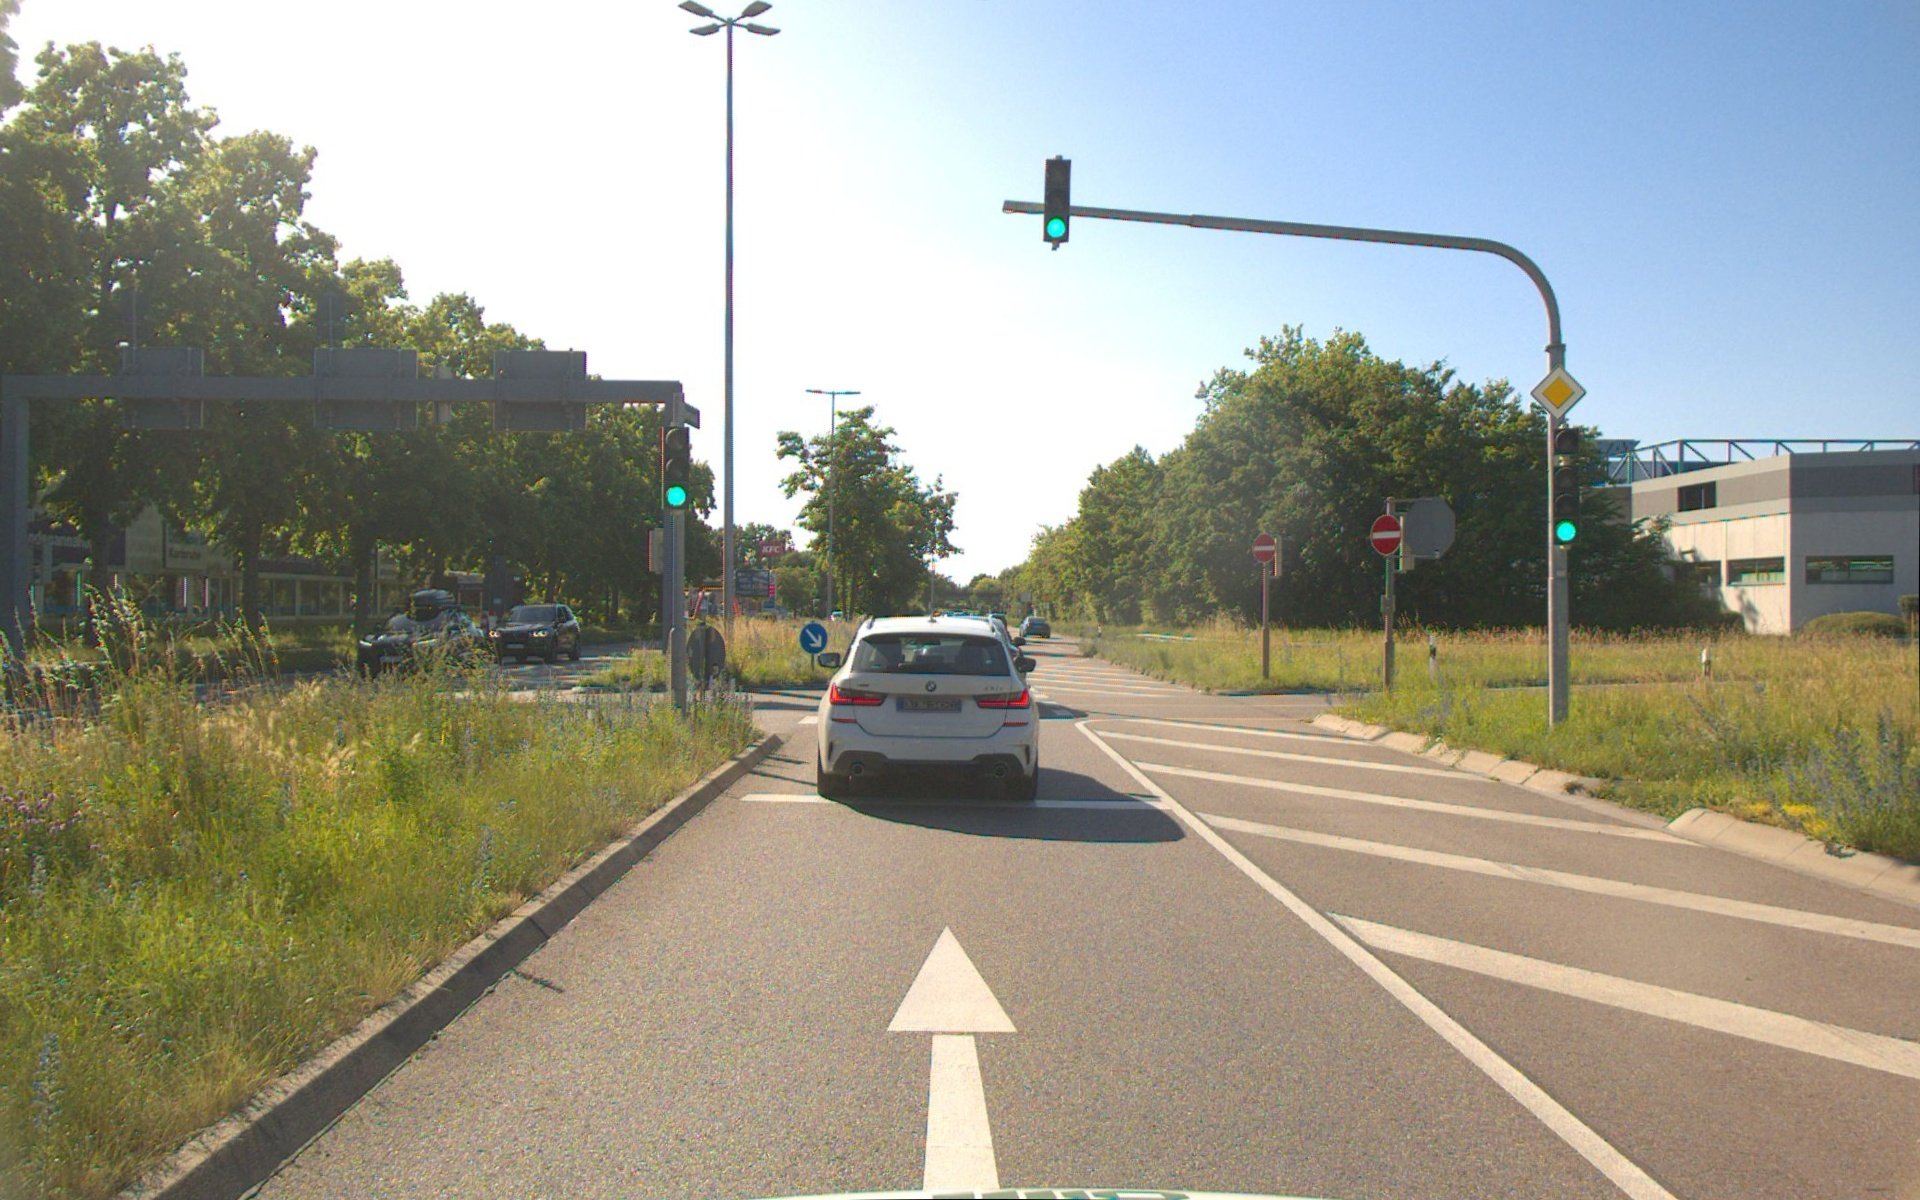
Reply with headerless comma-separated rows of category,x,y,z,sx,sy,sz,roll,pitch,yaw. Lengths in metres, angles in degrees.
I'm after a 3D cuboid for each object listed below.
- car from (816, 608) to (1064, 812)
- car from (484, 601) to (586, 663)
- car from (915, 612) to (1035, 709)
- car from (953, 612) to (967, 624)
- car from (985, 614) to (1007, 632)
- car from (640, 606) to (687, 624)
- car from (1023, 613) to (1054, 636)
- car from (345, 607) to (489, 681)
car,-0.159,0.836,14.659,1.823,1.480,4.547,1,0,0
car,-12.798,0.933,50.098,1.902,1.726,4.629,-1,0,-1
car,0.200,0.935,27.391,1.824,1.481,4.546,0,0,-1
car,-0.052,2.452,224.047,1.824,1.593,4.546,0,0,-1
car,3.197,2.030,146.310,1.736,1.583,3.831,0,0,-2
car,-27.754,1.405,154.935,4.025,1.691,1.893,0,0,2
car,5.374,1.644,113.818,1.824,1.525,4.335,1,-1,-1
car,-12.447,0.971,38.219,1.838,1.570,4.572,-1,0,0
